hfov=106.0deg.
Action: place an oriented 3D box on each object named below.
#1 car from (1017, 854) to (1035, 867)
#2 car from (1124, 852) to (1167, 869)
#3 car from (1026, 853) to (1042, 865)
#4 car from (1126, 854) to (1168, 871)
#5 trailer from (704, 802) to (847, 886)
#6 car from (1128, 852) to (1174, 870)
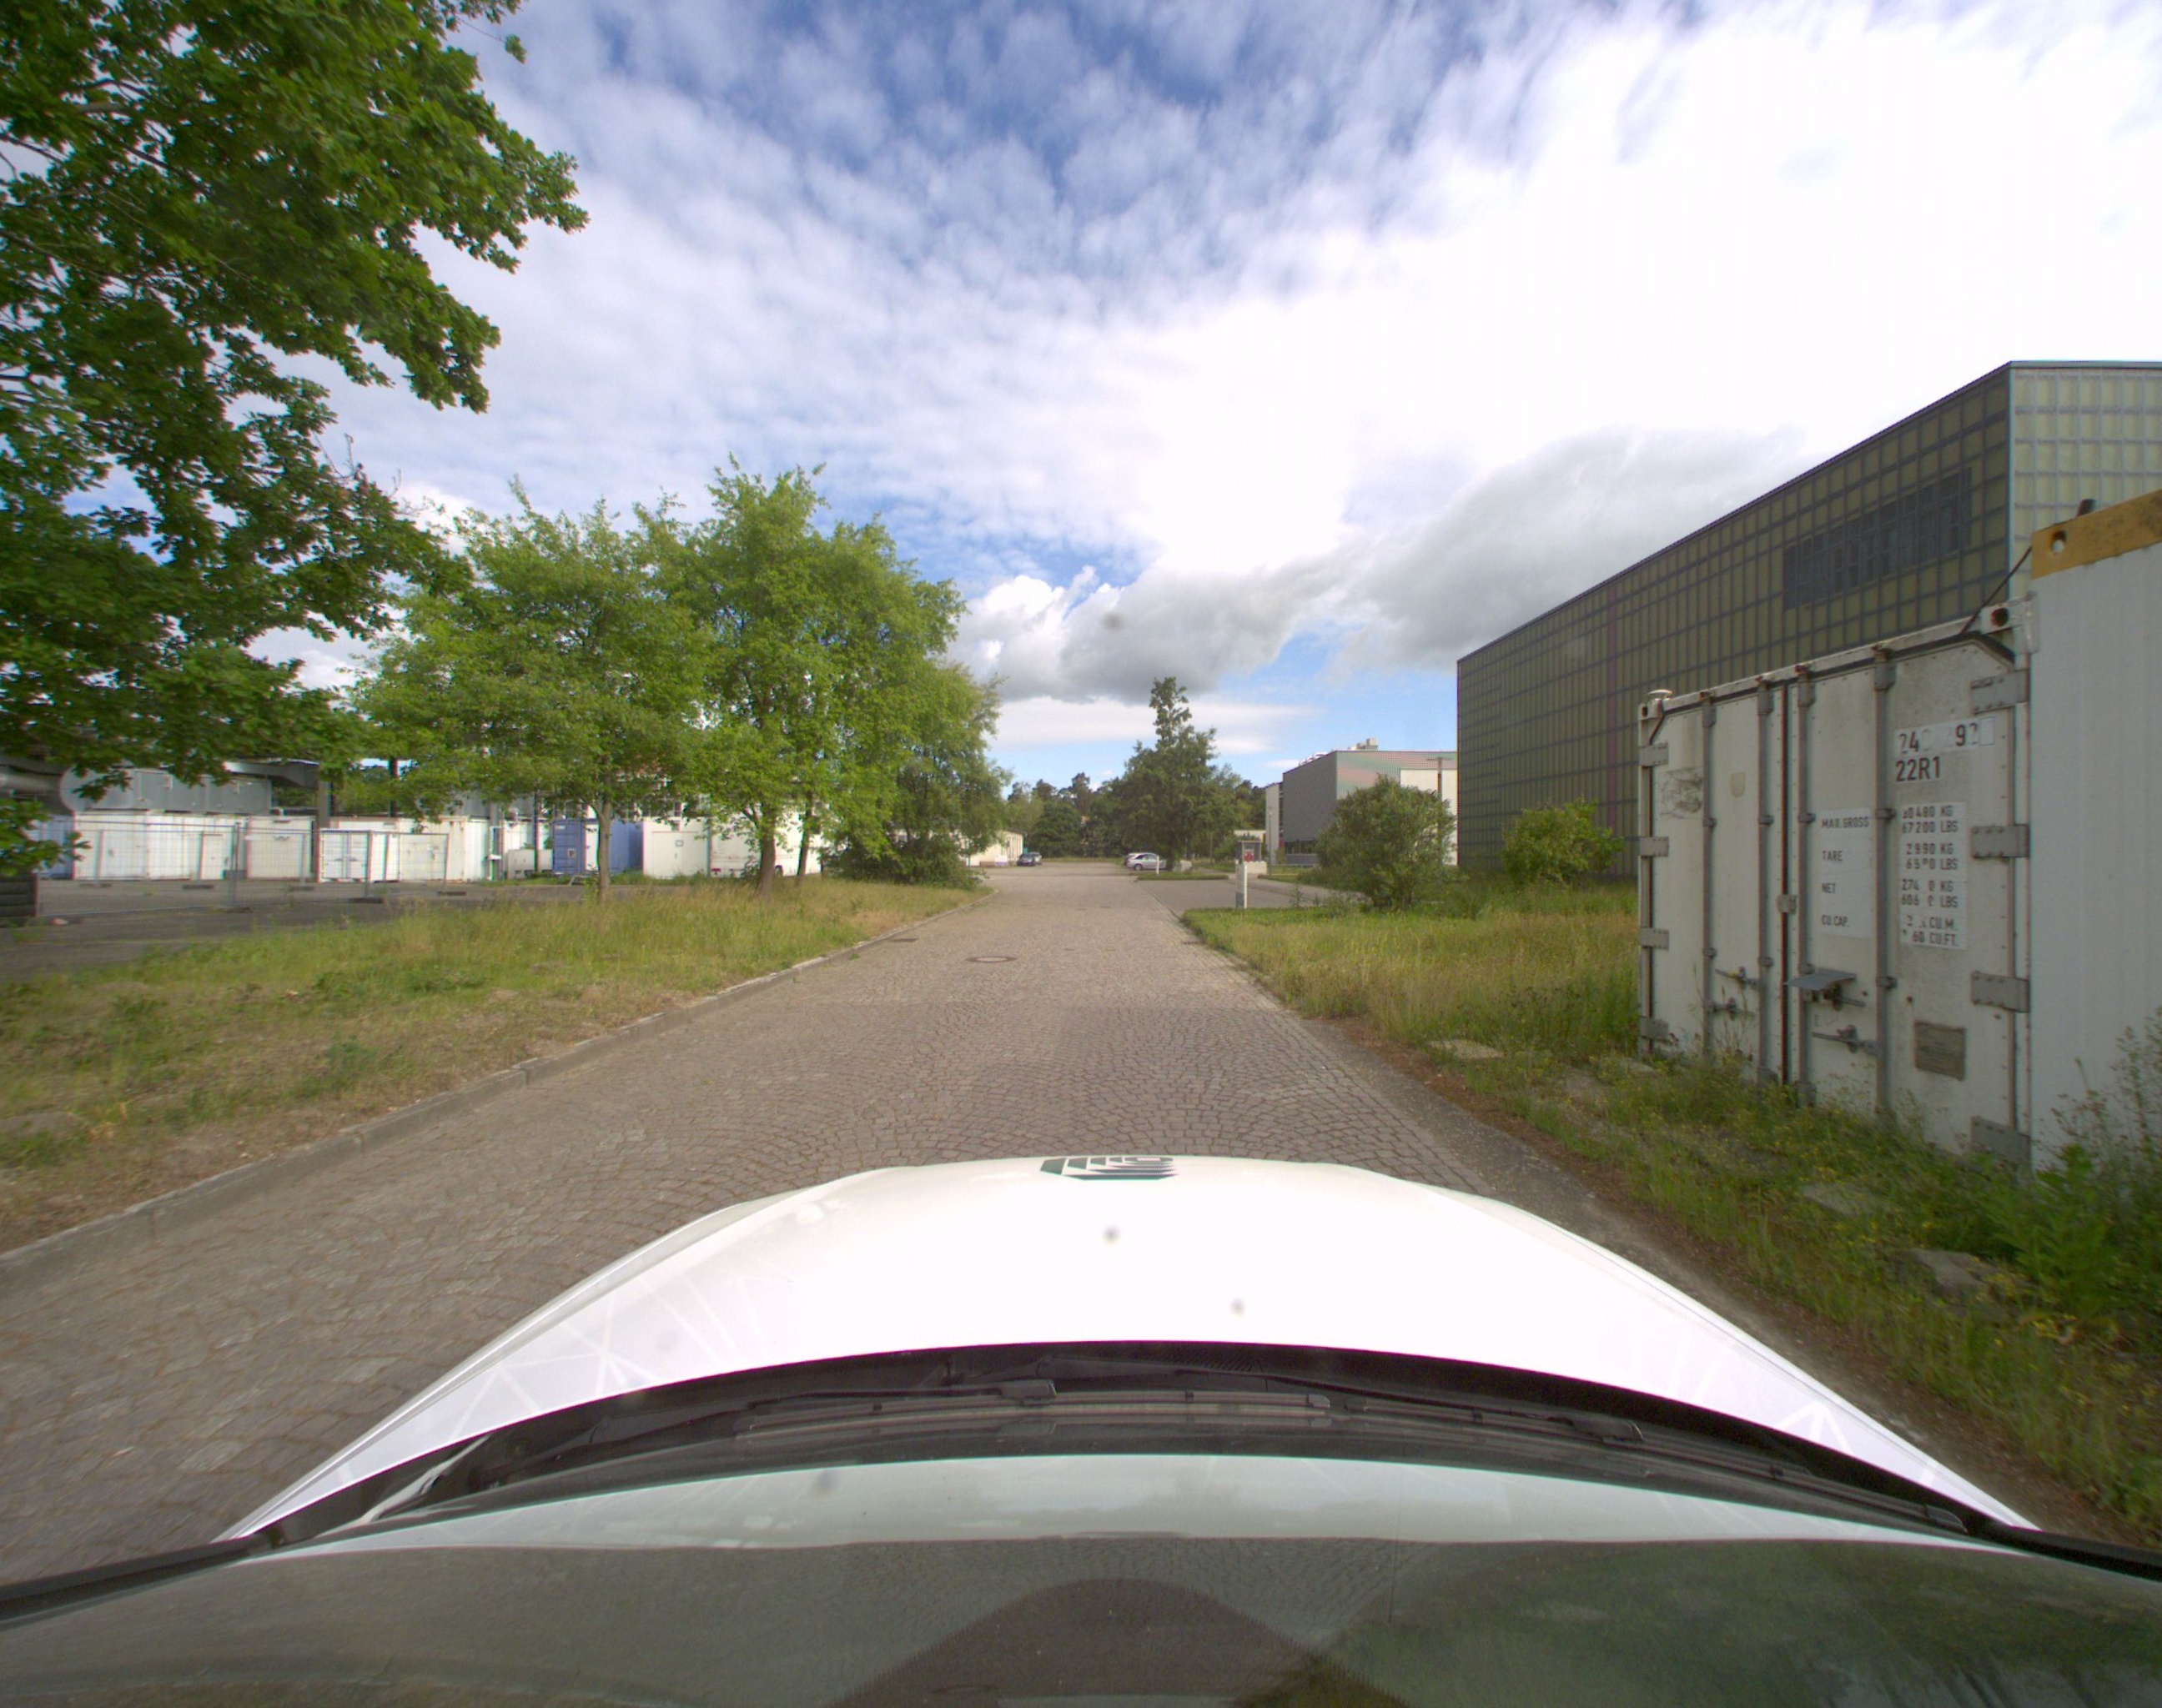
[{"bbox_3d":[-6.216,0.691,91.934,1.642,1.369,3.999,0,0,1],"label":"car"},{"bbox_3d":[6.129,0.612,78.051,3.970,1.475,1.654,-2,0,1],"label":"car"},{"bbox_3d":[-5.870,0.609,102.275,1.642,1.458,3.999,0,0,1],"label":"car"},{"bbox_3d":[5.648,0.748,70.228,3.509,1.362,1.623,-2,0,1],"label":"car"},{"bbox_3d":[-14.662,-0.443,40.233,2.614,3.598,10.186,0,0,4],"label":"trailer"},{"bbox_3d":[6.249,0.635,72.916,3.970,1.448,1.654,-2,0,1],"label":"car"}]
